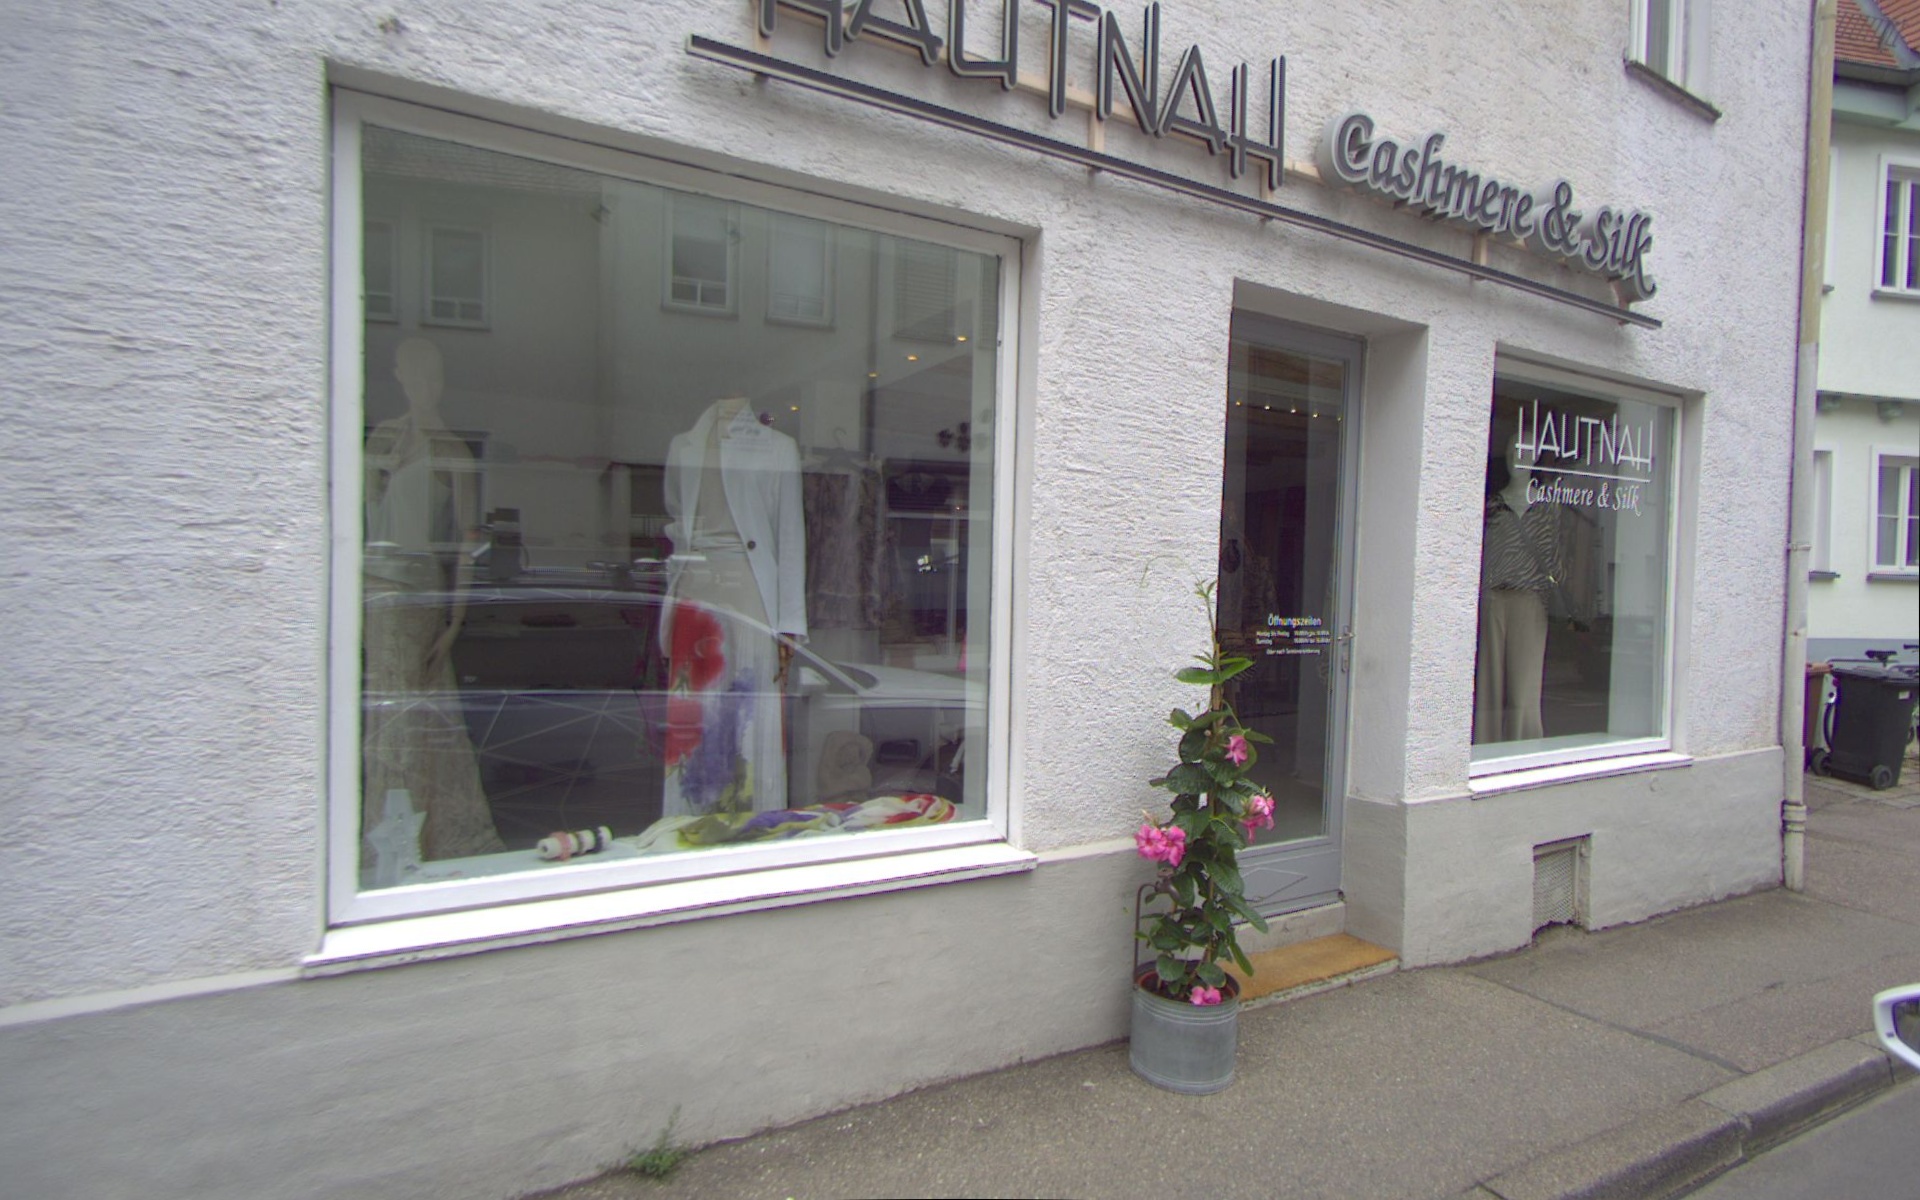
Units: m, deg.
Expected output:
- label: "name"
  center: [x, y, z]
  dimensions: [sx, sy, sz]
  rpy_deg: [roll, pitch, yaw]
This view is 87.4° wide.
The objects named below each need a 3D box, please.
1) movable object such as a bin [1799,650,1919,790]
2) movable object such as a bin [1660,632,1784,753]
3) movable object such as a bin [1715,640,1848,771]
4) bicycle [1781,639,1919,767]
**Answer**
- label: "movable object such as a bin"
  center: [7.426, 0.961, 8.211]
  dimensions: [0.576, 1.014, 0.553]
  rpy_deg: [0, 7, -13]
- label: "movable object such as a bin"
  center: [7.056, 0.843, 9.320]
  dimensions: [0.612, 1.014, 0.555]
  rpy_deg: [1, 8, -14]
- label: "movable object such as a bin"
  center: [7.102, 0.897, 8.704]
  dimensions: [0.589, 1.014, 0.569]
  rpy_deg: [-1, 7, -14]
- label: "bicycle"
  center: [8.508, 0.917, 9.020]
  dimensions: [2.055, 1.053, 0.443]
  rpy_deg: [1, 6, -10]
